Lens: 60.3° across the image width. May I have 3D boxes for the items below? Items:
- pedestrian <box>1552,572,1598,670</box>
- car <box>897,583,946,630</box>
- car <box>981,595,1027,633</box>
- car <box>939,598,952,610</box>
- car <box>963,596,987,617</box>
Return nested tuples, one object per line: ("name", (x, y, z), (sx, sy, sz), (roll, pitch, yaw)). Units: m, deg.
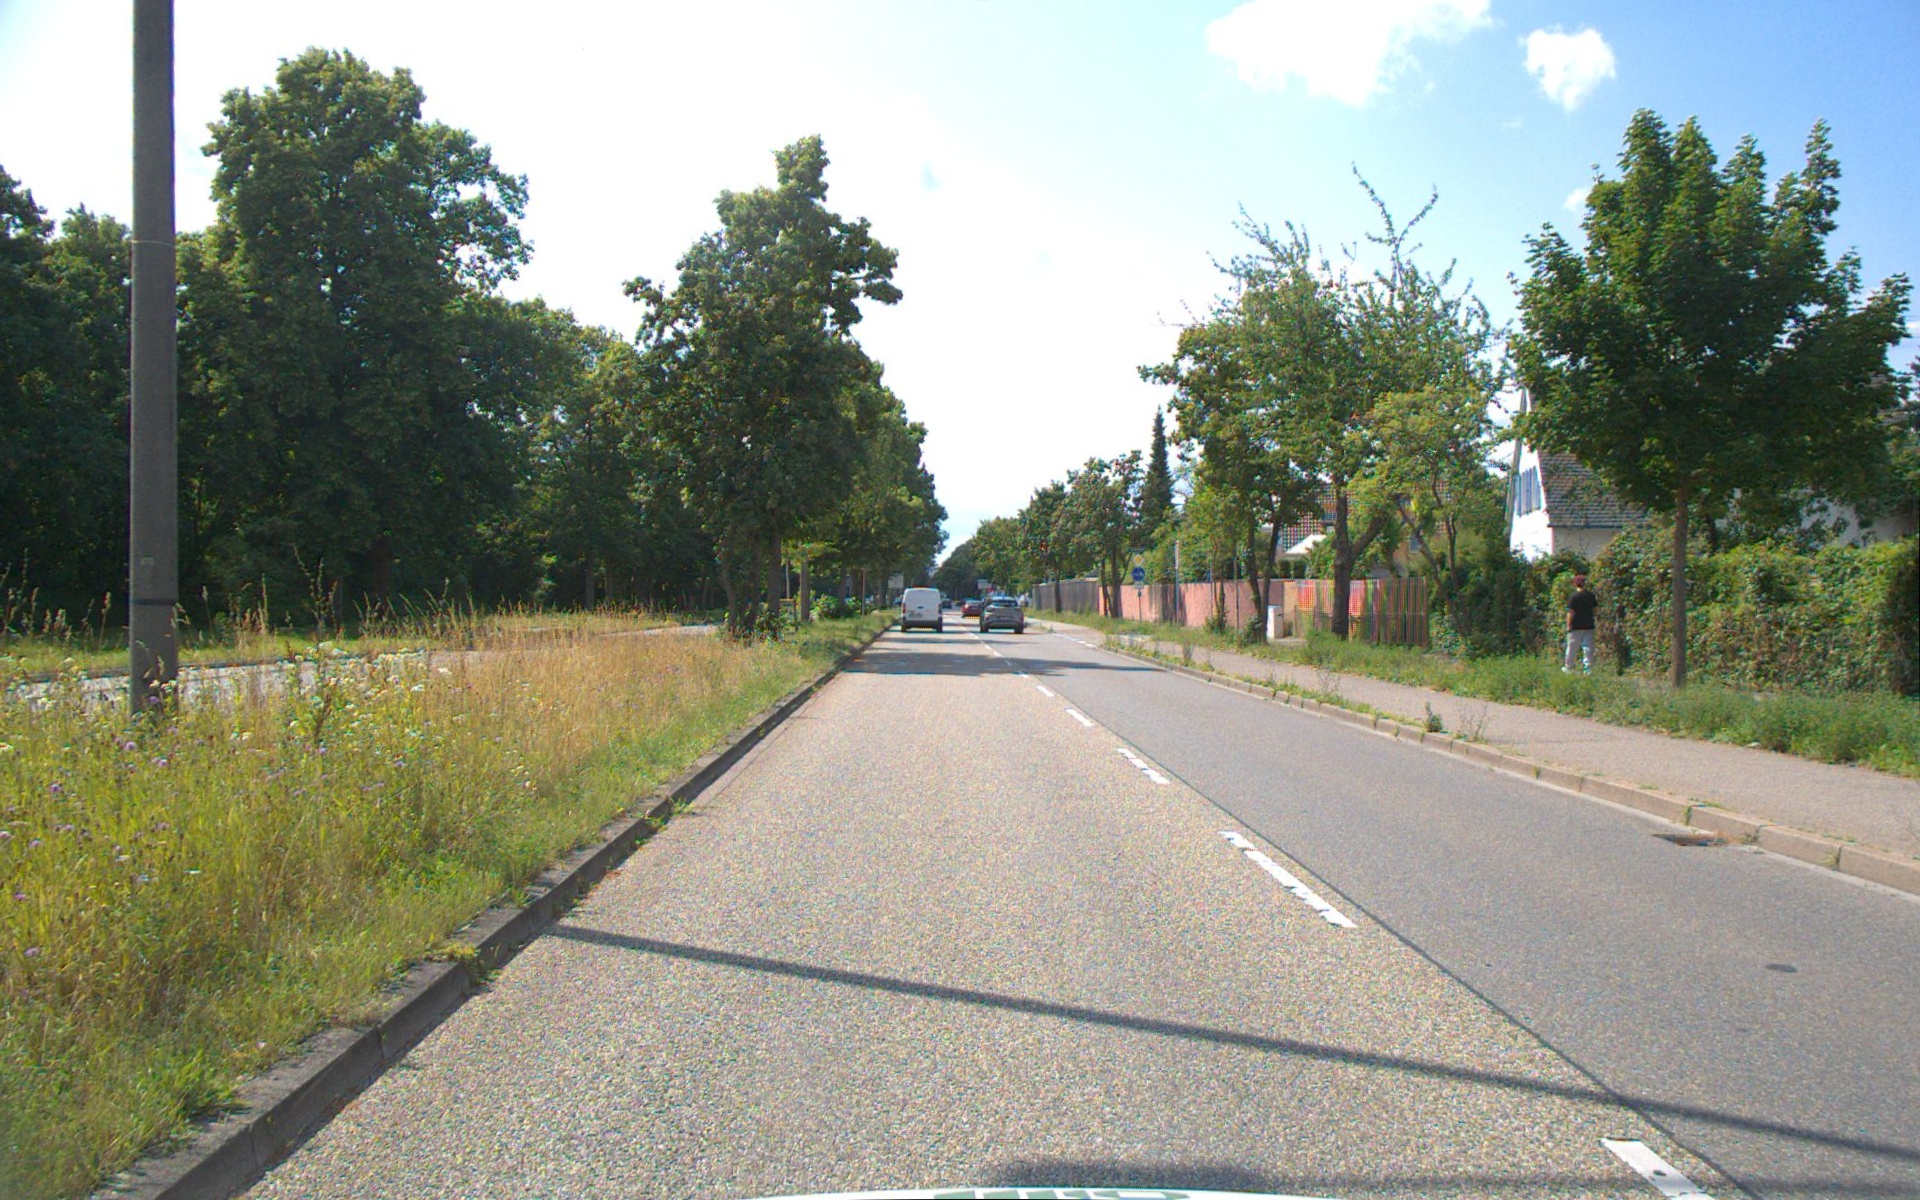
("pedestrian", (10.803, 0.365, 29.057), (0.548, 1.706, 0.634), (0, 0, -2))
("car", (-1.629, 0.264, 70.755), (2.024, 1.945, 4.645), (0, 0, -1))
("car", (1.872, 0.599, 71.919), (1.837, 1.617, 4.183), (0, 0, -1))
("car", (-2.283, 0.652, 256.184), (1.953, 1.803, 4.146), (1, 0, -1))
("car", (1.179, 0.528, 134.801), (1.842, 1.615, 3.999), (0, 0, -1))
